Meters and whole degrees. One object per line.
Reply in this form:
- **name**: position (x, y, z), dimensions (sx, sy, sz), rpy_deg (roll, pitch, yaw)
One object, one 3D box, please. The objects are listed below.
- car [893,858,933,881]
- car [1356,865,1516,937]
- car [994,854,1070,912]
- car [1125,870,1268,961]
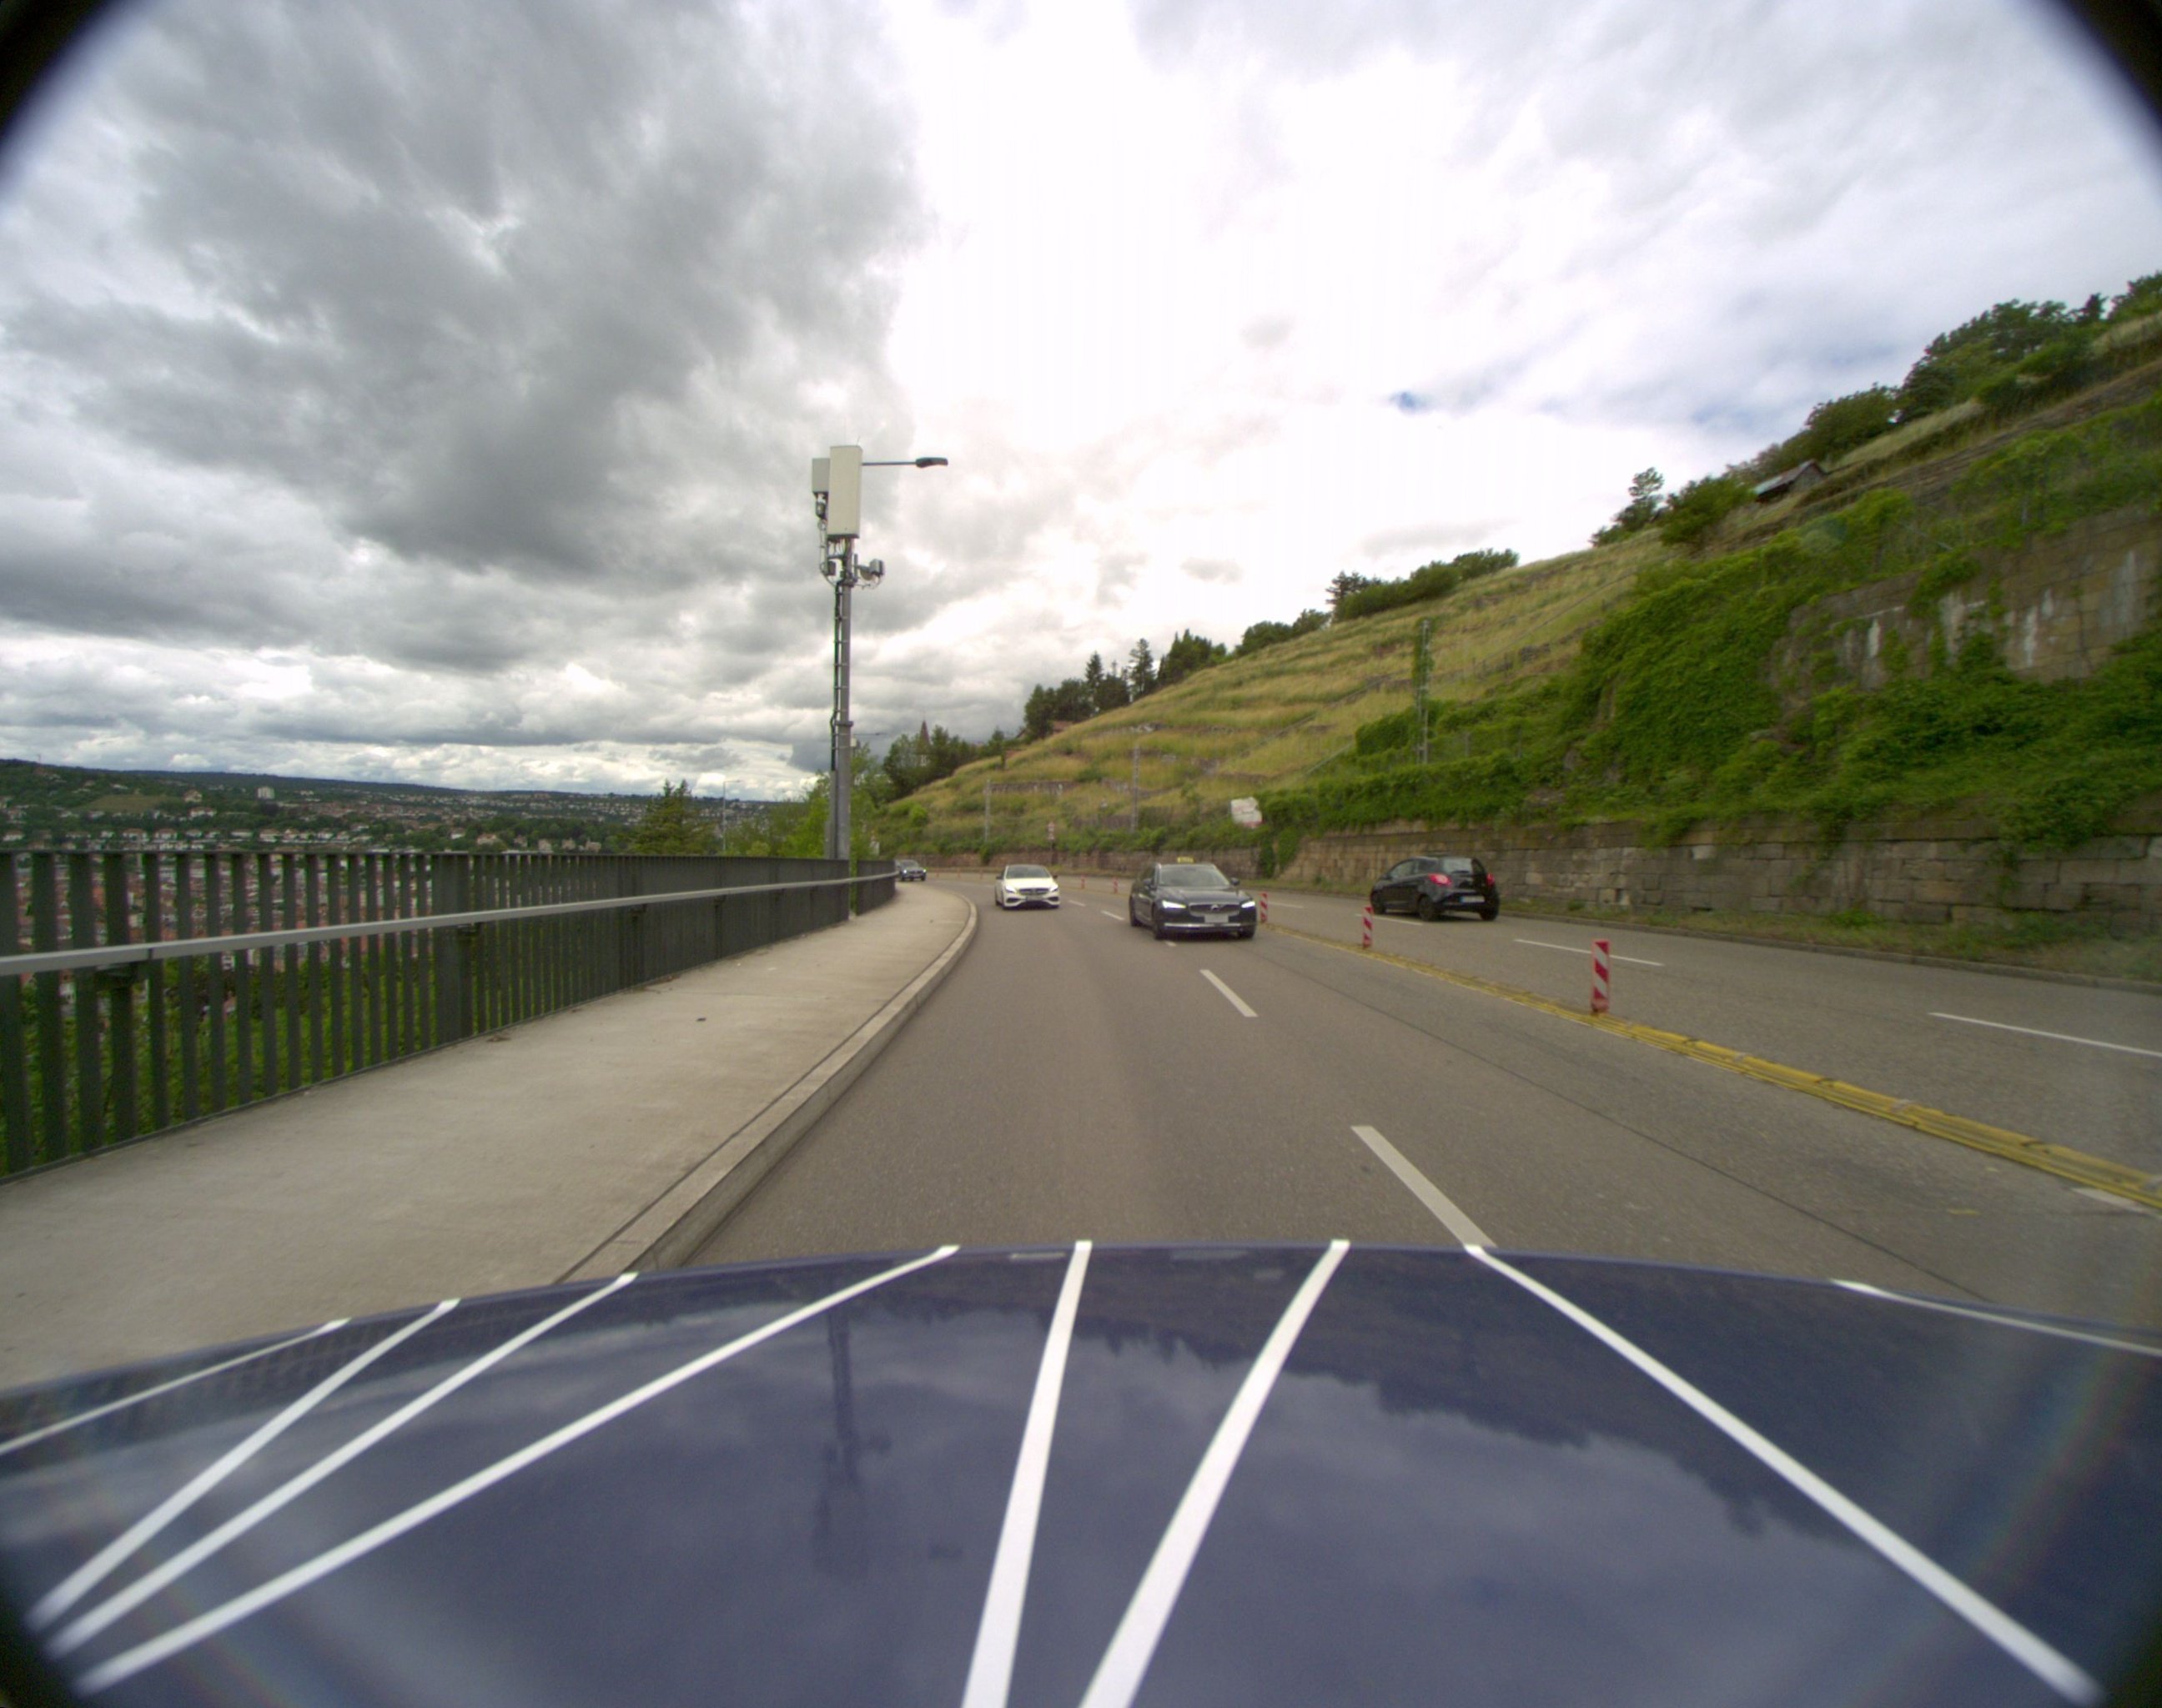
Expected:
- **car**: position (-12.987, 1.150, 58.473), dimensions (2.003, 1.661, 4.528), rpy_deg (0, 0, -27)
- **car**: position (8.197, 1.017, 17.990), dimensions (1.711, 1.433, 3.999), rpy_deg (-1, 0, -4)
- **car**: position (-1.715, 0.931, 25.253), dimensions (2.000, 1.708, 3.997), rpy_deg (-1, -1, -11)
- **car**: position (2.156, 1.123, 15.382), dimensions (1.901, 1.485, 4.140), rpy_deg (-2, 0, -5)
